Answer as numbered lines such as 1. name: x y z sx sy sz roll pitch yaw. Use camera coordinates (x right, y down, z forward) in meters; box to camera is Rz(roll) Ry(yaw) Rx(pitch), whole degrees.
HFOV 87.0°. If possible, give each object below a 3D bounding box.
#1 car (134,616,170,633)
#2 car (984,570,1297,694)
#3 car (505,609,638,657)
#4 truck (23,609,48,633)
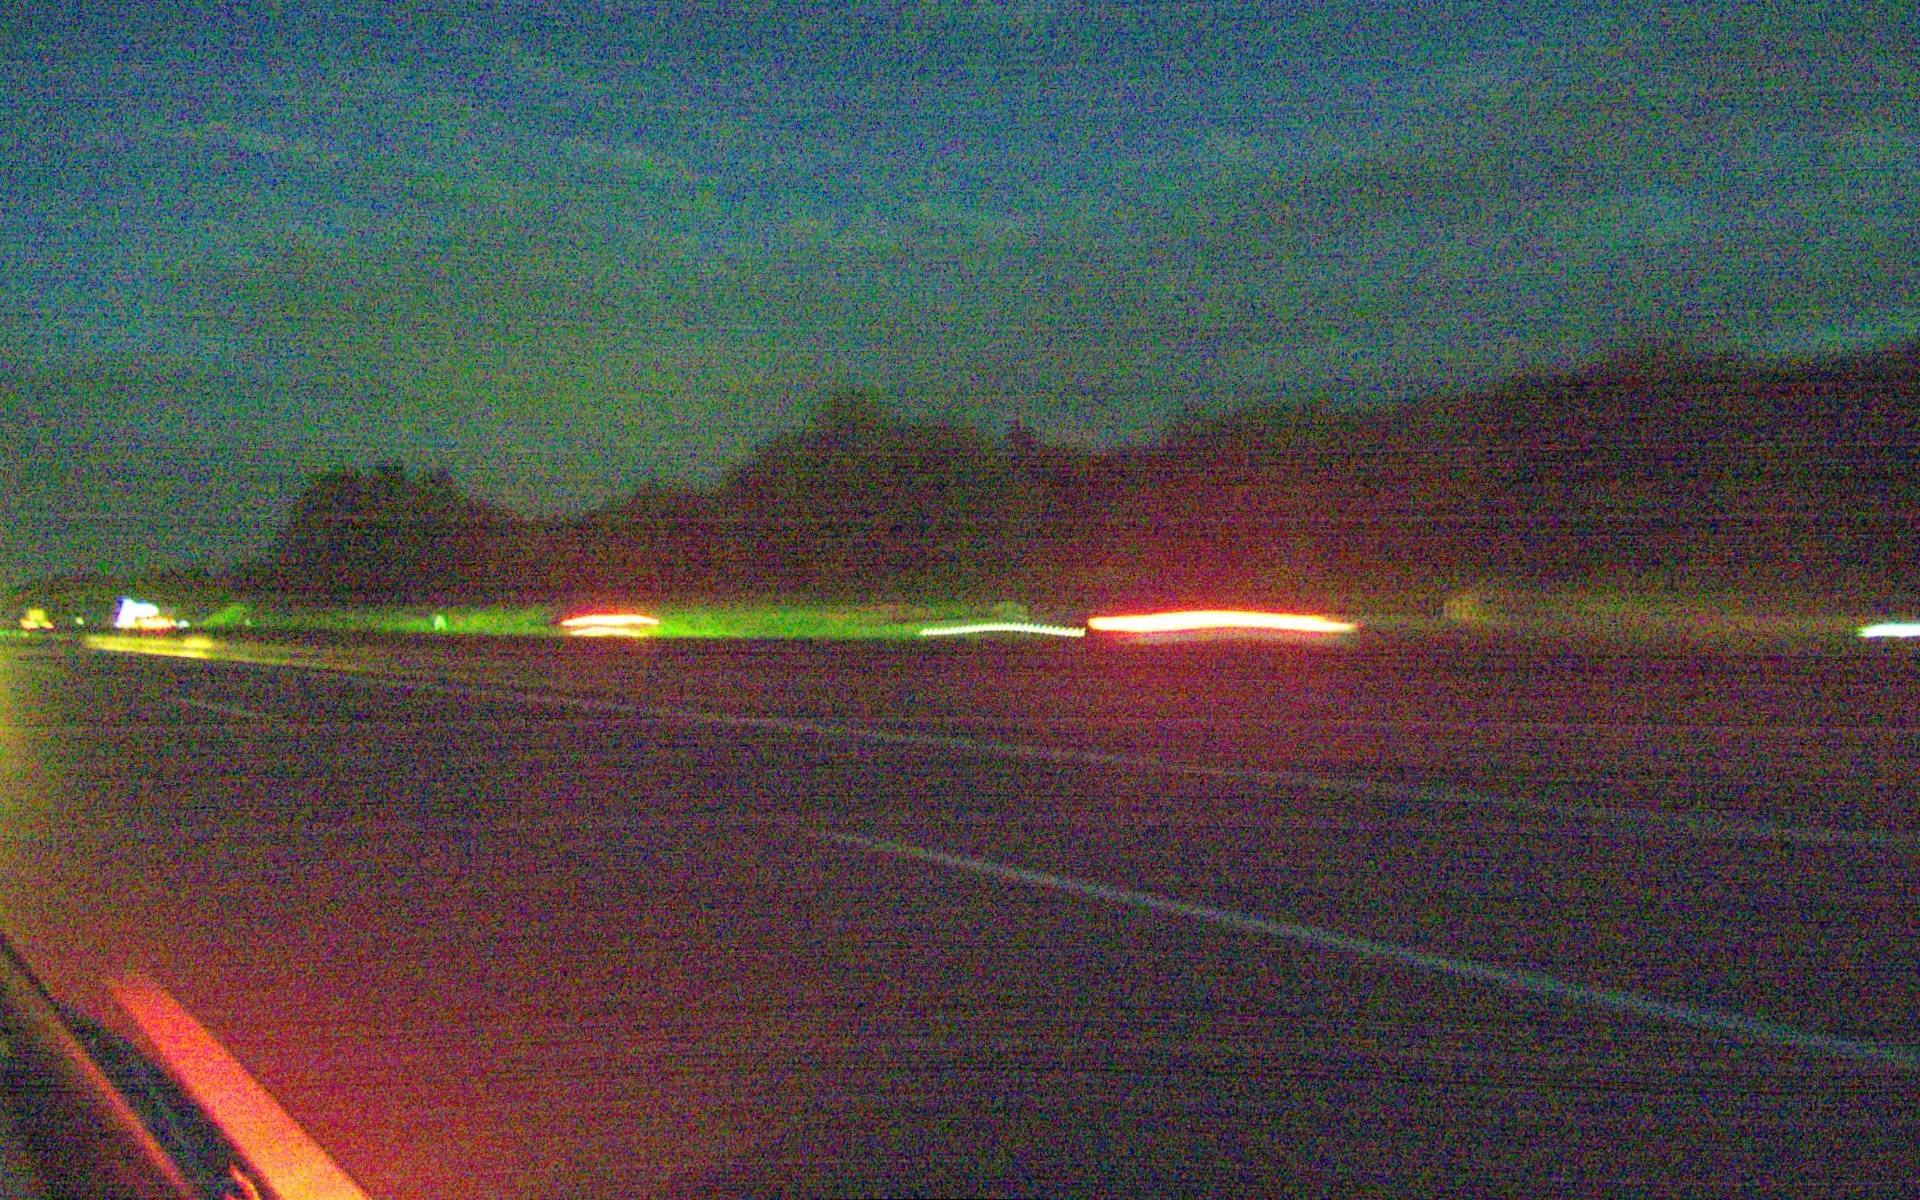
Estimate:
1. car: -78.644 2.363 98.499 3.996 1.520 1.974 -2 0 39
2. car: 2.812 0.481 16.491 4.657 1.747 1.973 -2 0 41
3. car: -13.568 1.135 35.216 5.197 1.520 1.974 -2 0 39
4. truck: -156.644 3.559 171.408 9.066 3.881 2.492 -2 0 44
